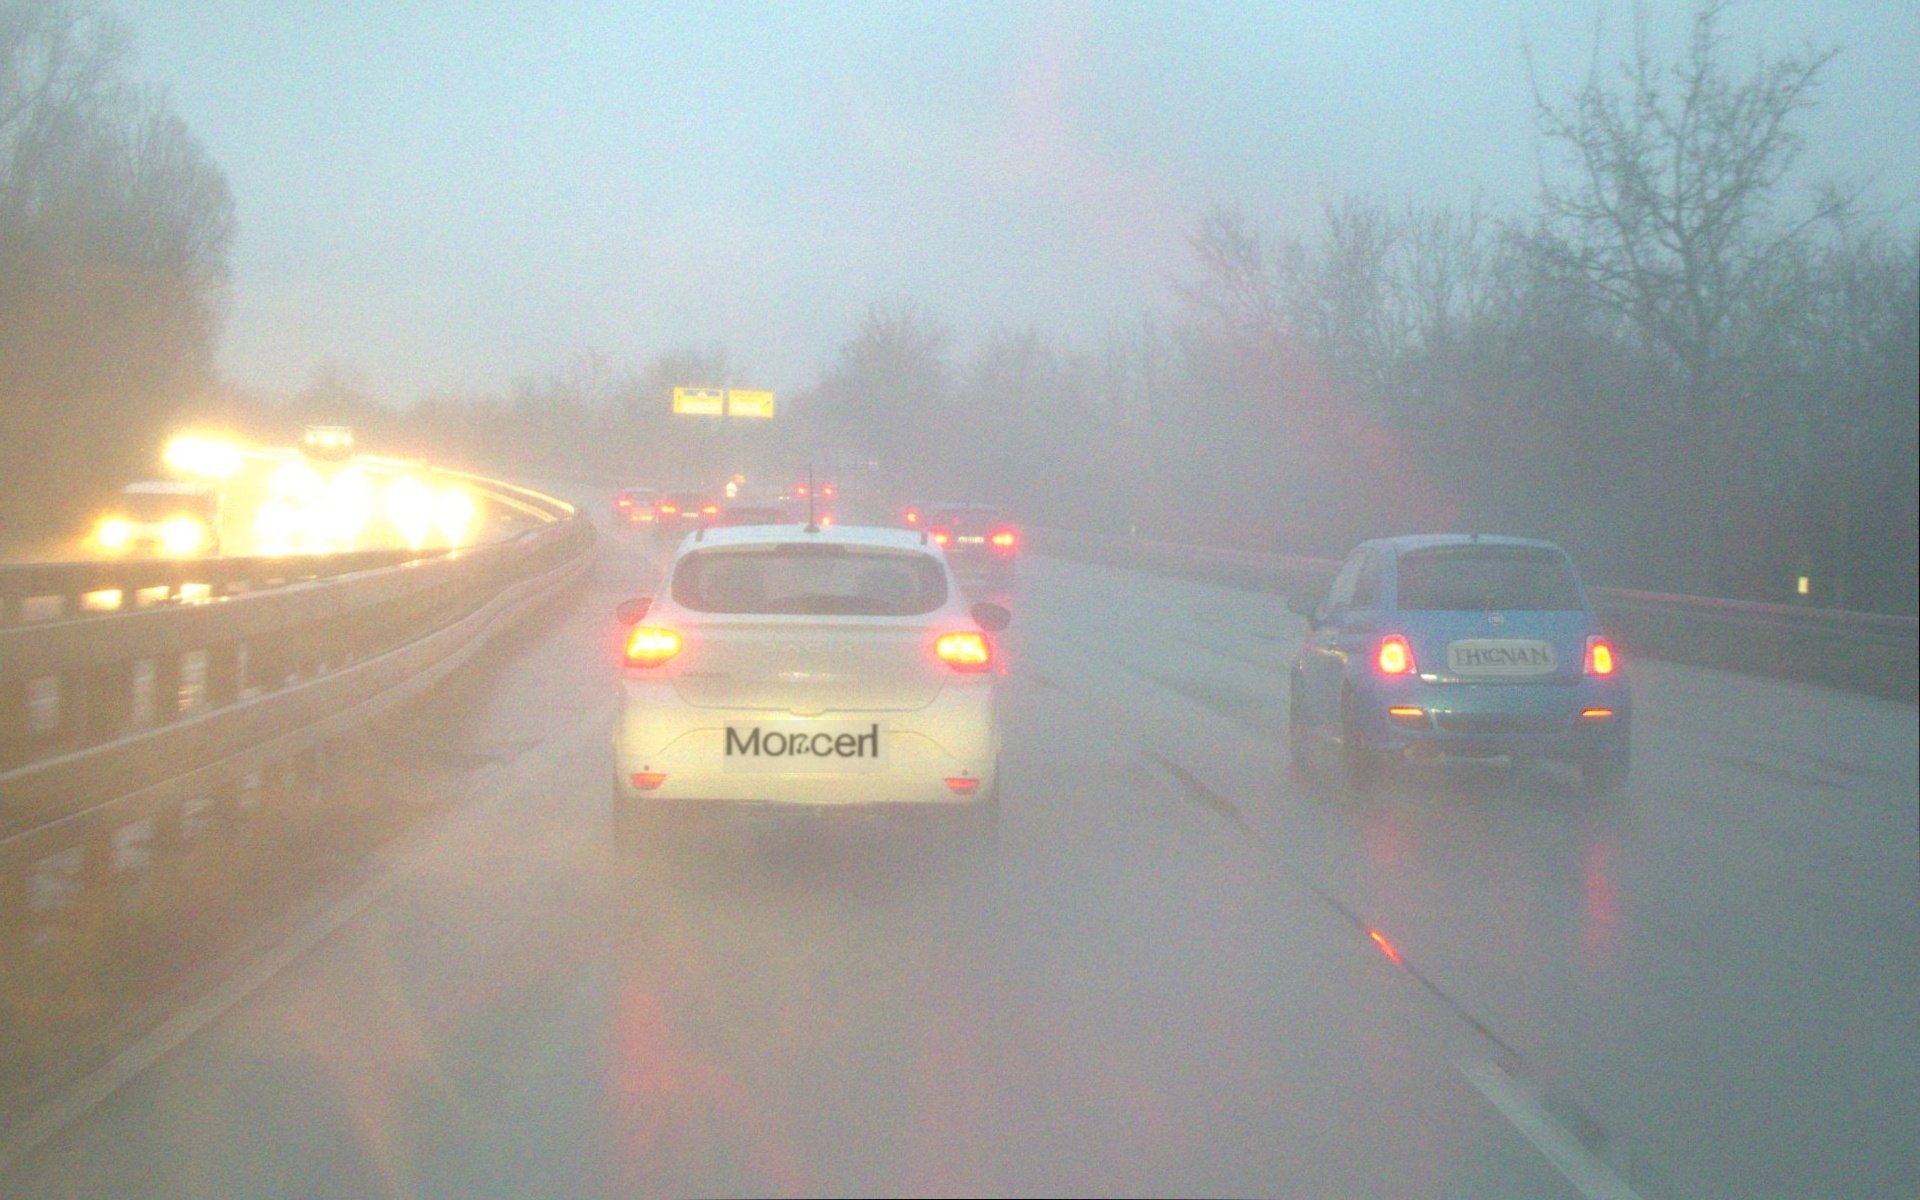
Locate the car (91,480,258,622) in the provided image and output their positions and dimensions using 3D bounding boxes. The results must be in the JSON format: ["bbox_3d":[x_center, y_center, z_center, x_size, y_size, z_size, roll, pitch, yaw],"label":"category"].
[{"bbox_3d":[-15.013,-0.969,65.954,2.145,2.459,5.143,5,1,-4],"label":"car"}]

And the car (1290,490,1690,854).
[{"bbox_3d":[3.214,0.412,21.583,1.932,2.012,3.773,2,0,1],"label":"car"}]

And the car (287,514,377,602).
[{"bbox_3d":[-18.529,-1.261,101.621,2.144,2.460,5.143,2,1,-6],"label":"car"}]

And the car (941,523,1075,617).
[{"bbox_3d":[0.906,-0.563,67.233,1.932,1.541,3.774,-3,-2,-9],"label":"car"}]

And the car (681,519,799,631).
[{"bbox_3d":[-4.249,-0.477,65.947,1.993,2.007,4.001,2,0,-7],"label":"car"}]

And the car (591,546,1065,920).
[{"bbox_3d":[-0.605,0.587,17.134,2.025,1.569,4.000,2,0,-1],"label":"car"}]
